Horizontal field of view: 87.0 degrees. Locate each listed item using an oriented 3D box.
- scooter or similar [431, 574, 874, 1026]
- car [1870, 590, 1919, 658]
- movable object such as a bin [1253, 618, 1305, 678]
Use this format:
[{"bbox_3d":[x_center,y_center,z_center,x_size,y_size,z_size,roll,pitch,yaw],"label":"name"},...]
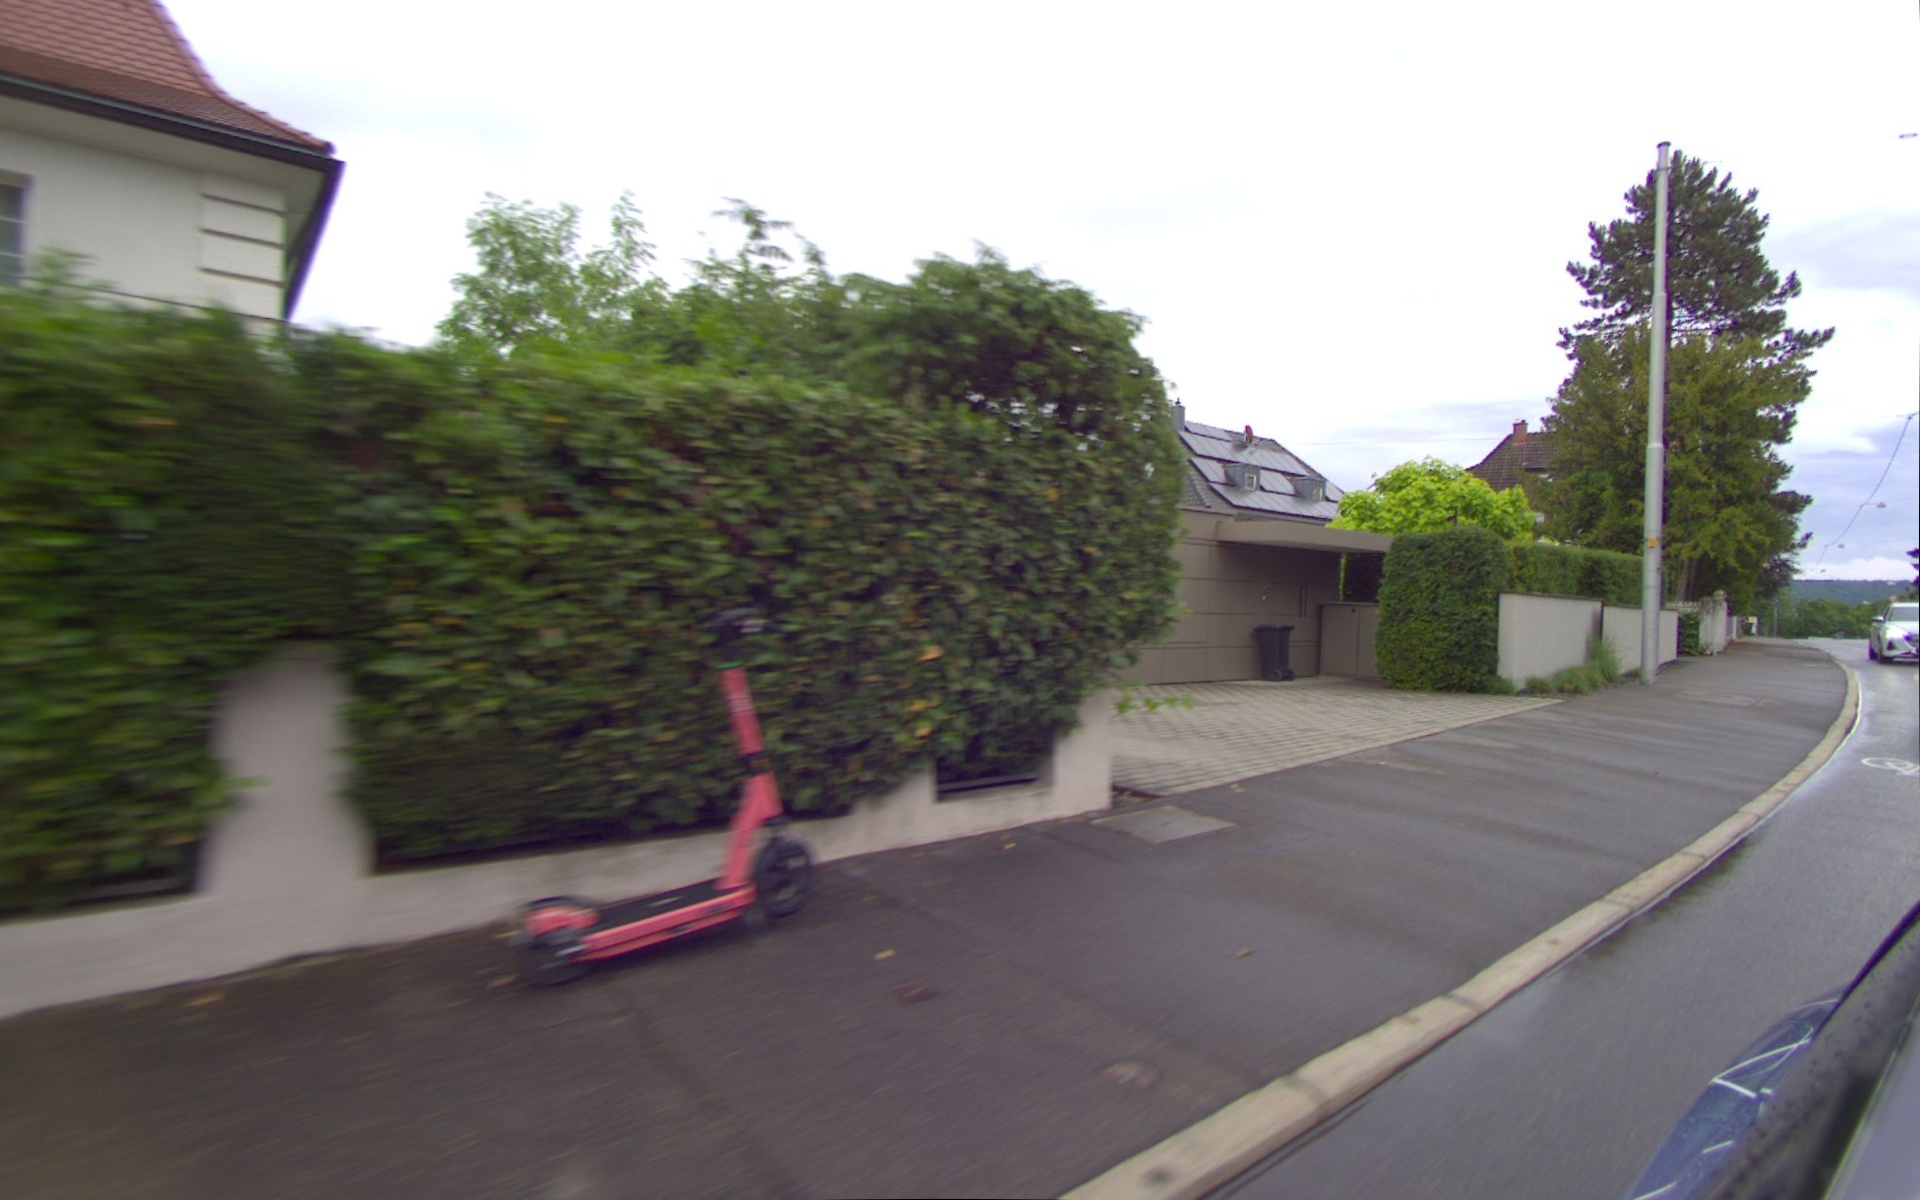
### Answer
[{"bbox_3d":[-1.035,0.582,3.627,1.456,1.323,0.450,0,2,-42],"label":"scooter or similar"},{"bbox_3d":[25.757,0.636,26.882,1.855,1.736,3.949,0,-1,35],"label":"car"},{"bbox_3d":[5.205,0.782,16.507,0.579,0.949,0.576,3,-2,-36],"label":"movable object such as a bin"}]
